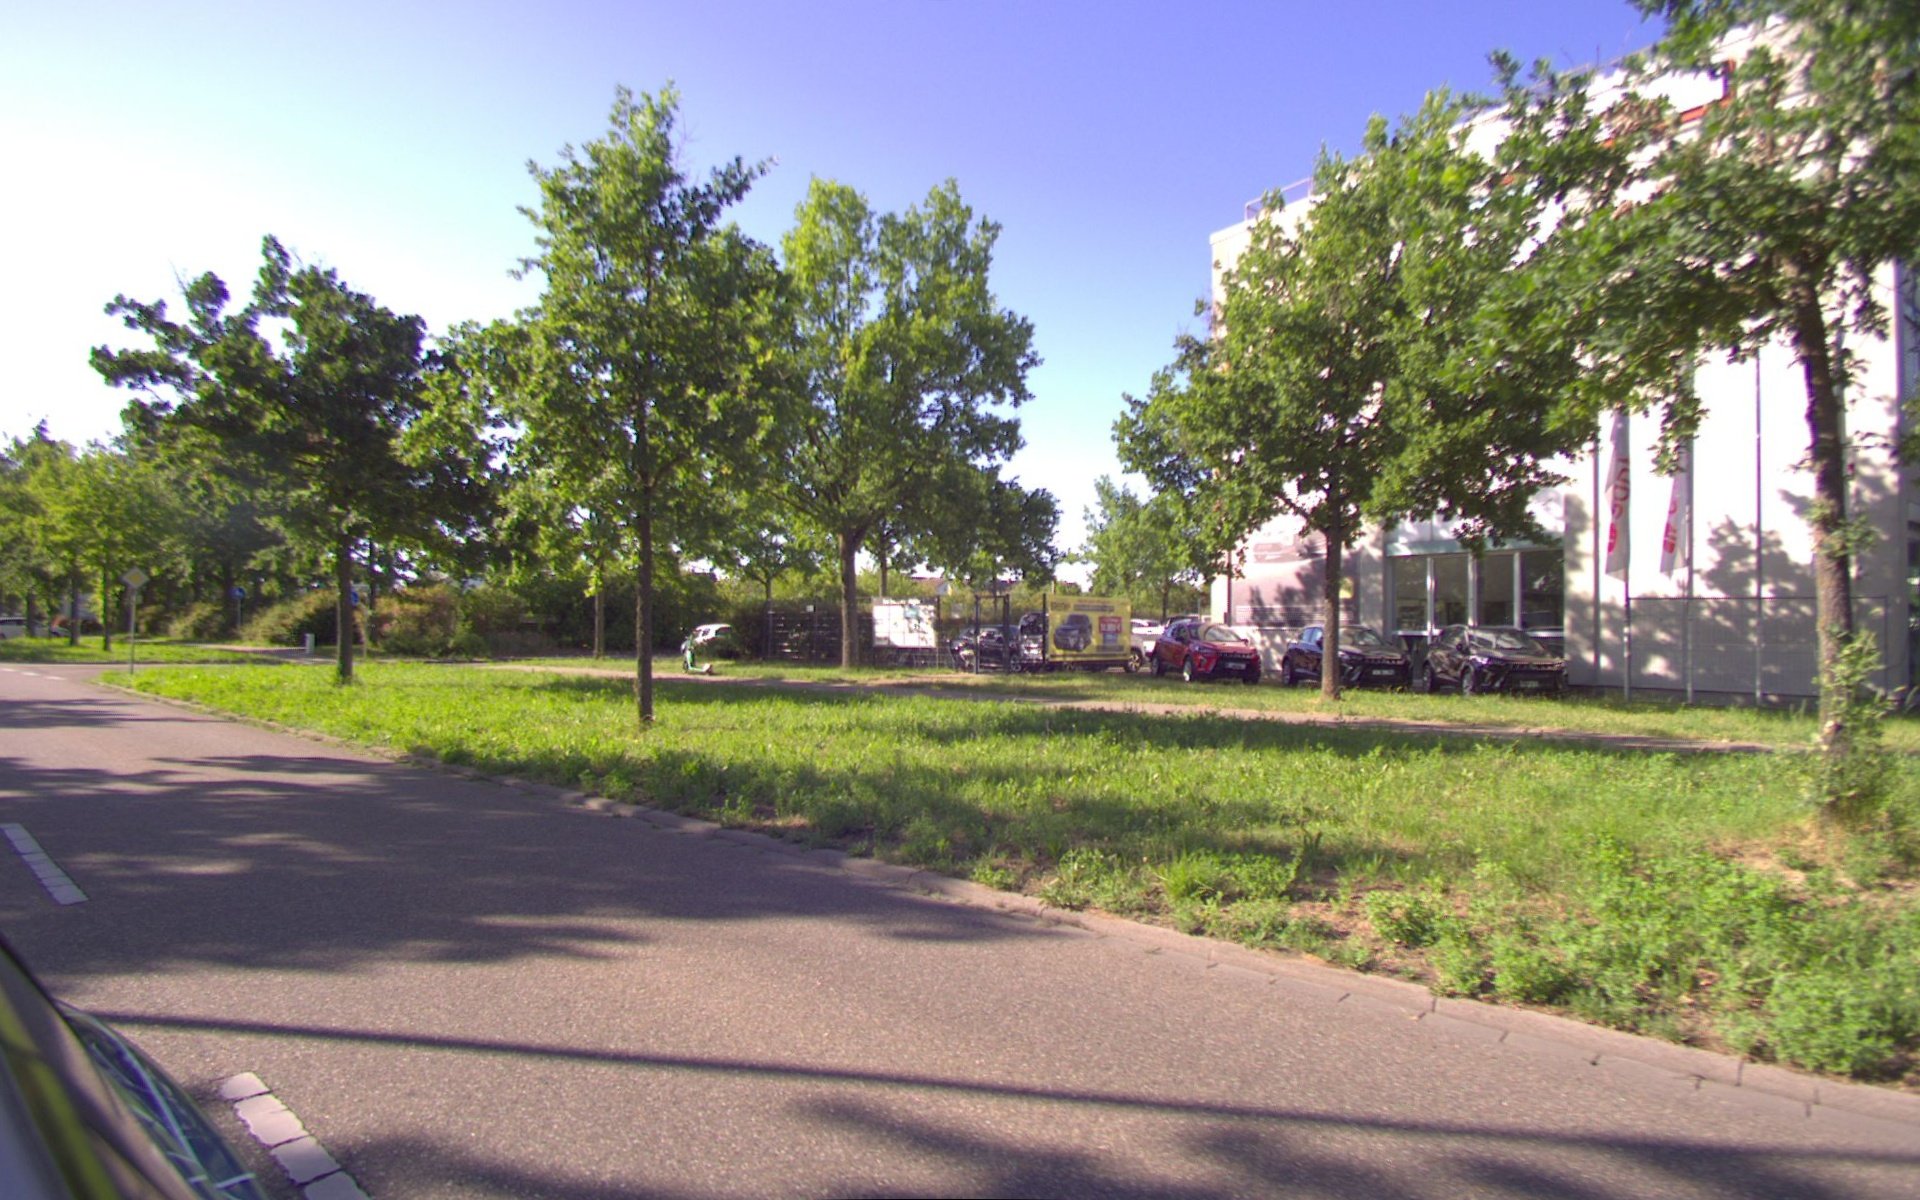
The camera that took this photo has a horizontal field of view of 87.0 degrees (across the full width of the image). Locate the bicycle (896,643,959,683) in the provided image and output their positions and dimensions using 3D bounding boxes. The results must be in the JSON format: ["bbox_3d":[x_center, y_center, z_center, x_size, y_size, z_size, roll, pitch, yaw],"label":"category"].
[{"bbox_3d":[-0.949,1.789,29.068,1.890,1.096,0.632,-2,-3,41],"label":"bicycle"}]

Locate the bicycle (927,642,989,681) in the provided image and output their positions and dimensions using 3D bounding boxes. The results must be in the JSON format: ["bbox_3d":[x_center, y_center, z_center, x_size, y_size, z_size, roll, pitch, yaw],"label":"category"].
[{"bbox_3d":[-0.074,1.785,29.610,1.890,1.096,0.632,-2,-3,41],"label":"bicycle"}]

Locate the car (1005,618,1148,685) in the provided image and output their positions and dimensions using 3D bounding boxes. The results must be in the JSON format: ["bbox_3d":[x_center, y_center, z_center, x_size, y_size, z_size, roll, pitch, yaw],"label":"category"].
[{"bbox_3d":[3.529,1.495,30.404,3.965,1.797,2.029,0,-2,-38],"label":"car"}]

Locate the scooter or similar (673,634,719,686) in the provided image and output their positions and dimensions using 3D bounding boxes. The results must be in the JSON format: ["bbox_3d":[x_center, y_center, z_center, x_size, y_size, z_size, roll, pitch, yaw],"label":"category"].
[{"bbox_3d":[-6.729,1.512,25.746,1.441,1.289,0.390,-2,-3,42],"label":"scooter or similar"}]

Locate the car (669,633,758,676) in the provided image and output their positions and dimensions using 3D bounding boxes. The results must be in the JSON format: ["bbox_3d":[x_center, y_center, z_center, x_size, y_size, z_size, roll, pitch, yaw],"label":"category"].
[{"bbox_3d":[-9.643,2.150,39.410,1.967,1.516,3.925,2,-5,-37],"label":"car"}]

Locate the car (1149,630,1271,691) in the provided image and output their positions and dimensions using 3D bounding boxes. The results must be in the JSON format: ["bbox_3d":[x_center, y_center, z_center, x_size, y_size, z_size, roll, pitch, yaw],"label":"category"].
[{"bbox_3d":[6.380,1.519,26.268,1.773,1.459,4.005,0,-2,-6],"label":"car"}]

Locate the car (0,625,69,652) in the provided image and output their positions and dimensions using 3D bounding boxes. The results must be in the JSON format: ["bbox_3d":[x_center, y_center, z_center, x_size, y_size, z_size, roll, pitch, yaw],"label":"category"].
[{"bbox_3d":[-59.635,2.447,64.061,2.189,1.570,4.580,-2,-2,39],"label":"car"}]

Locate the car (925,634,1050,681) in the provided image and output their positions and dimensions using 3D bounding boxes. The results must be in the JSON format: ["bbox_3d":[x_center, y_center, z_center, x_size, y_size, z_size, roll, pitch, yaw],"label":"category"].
[{"bbox_3d":[0.863,1.874,33.514,3.999,1.459,1.776,-2,-3,43],"label":"car"}]

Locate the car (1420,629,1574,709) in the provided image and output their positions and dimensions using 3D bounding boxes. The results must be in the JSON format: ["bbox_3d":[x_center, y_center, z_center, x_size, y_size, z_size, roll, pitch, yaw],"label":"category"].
[{"bbox_3d":[11.300,1.429,21.603,1.782,1.523,3.984,-2,-3,12],"label":"car"}]

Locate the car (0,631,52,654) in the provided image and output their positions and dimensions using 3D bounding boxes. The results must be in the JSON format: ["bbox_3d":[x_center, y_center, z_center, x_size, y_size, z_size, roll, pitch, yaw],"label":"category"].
[{"bbox_3d":[-67.232,3.046,71.583,2.088,1.522,4.364,-2,-2,43],"label":"car"}]

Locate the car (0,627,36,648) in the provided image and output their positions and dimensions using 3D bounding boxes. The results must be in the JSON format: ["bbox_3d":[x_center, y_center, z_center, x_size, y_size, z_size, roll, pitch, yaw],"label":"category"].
[{"bbox_3d":[-74.770,2.934,78.593,2.089,1.568,4.362,-2,-2,45],"label":"car"}]

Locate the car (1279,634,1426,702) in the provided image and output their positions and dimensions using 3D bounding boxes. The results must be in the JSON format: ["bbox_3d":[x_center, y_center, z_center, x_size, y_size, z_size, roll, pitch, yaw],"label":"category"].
[{"bbox_3d":[9.086,1.542,23.827,1.775,1.459,4.001,0,-2,-2],"label":"car"}]

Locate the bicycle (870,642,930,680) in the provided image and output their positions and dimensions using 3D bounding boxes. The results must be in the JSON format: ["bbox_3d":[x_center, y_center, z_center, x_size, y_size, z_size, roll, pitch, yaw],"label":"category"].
[{"bbox_3d":[-1.799,1.803,30.234,1.890,1.096,0.632,-2,-3,41],"label":"bicycle"}]

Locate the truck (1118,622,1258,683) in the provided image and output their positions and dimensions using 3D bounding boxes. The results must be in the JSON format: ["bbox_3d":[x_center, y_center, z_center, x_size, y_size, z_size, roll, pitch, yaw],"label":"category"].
[{"bbox_3d":[7.570,1.676,33.431,4.614,1.797,2.029,0,-2,-38],"label":"truck"}]

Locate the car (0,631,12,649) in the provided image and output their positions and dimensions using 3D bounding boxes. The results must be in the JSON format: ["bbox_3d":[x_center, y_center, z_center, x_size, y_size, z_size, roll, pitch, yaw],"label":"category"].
[{"bbox_3d":[-89.723,3.708,92.863,4.016,1.655,1.877,0,-2,-44],"label":"car"}]
